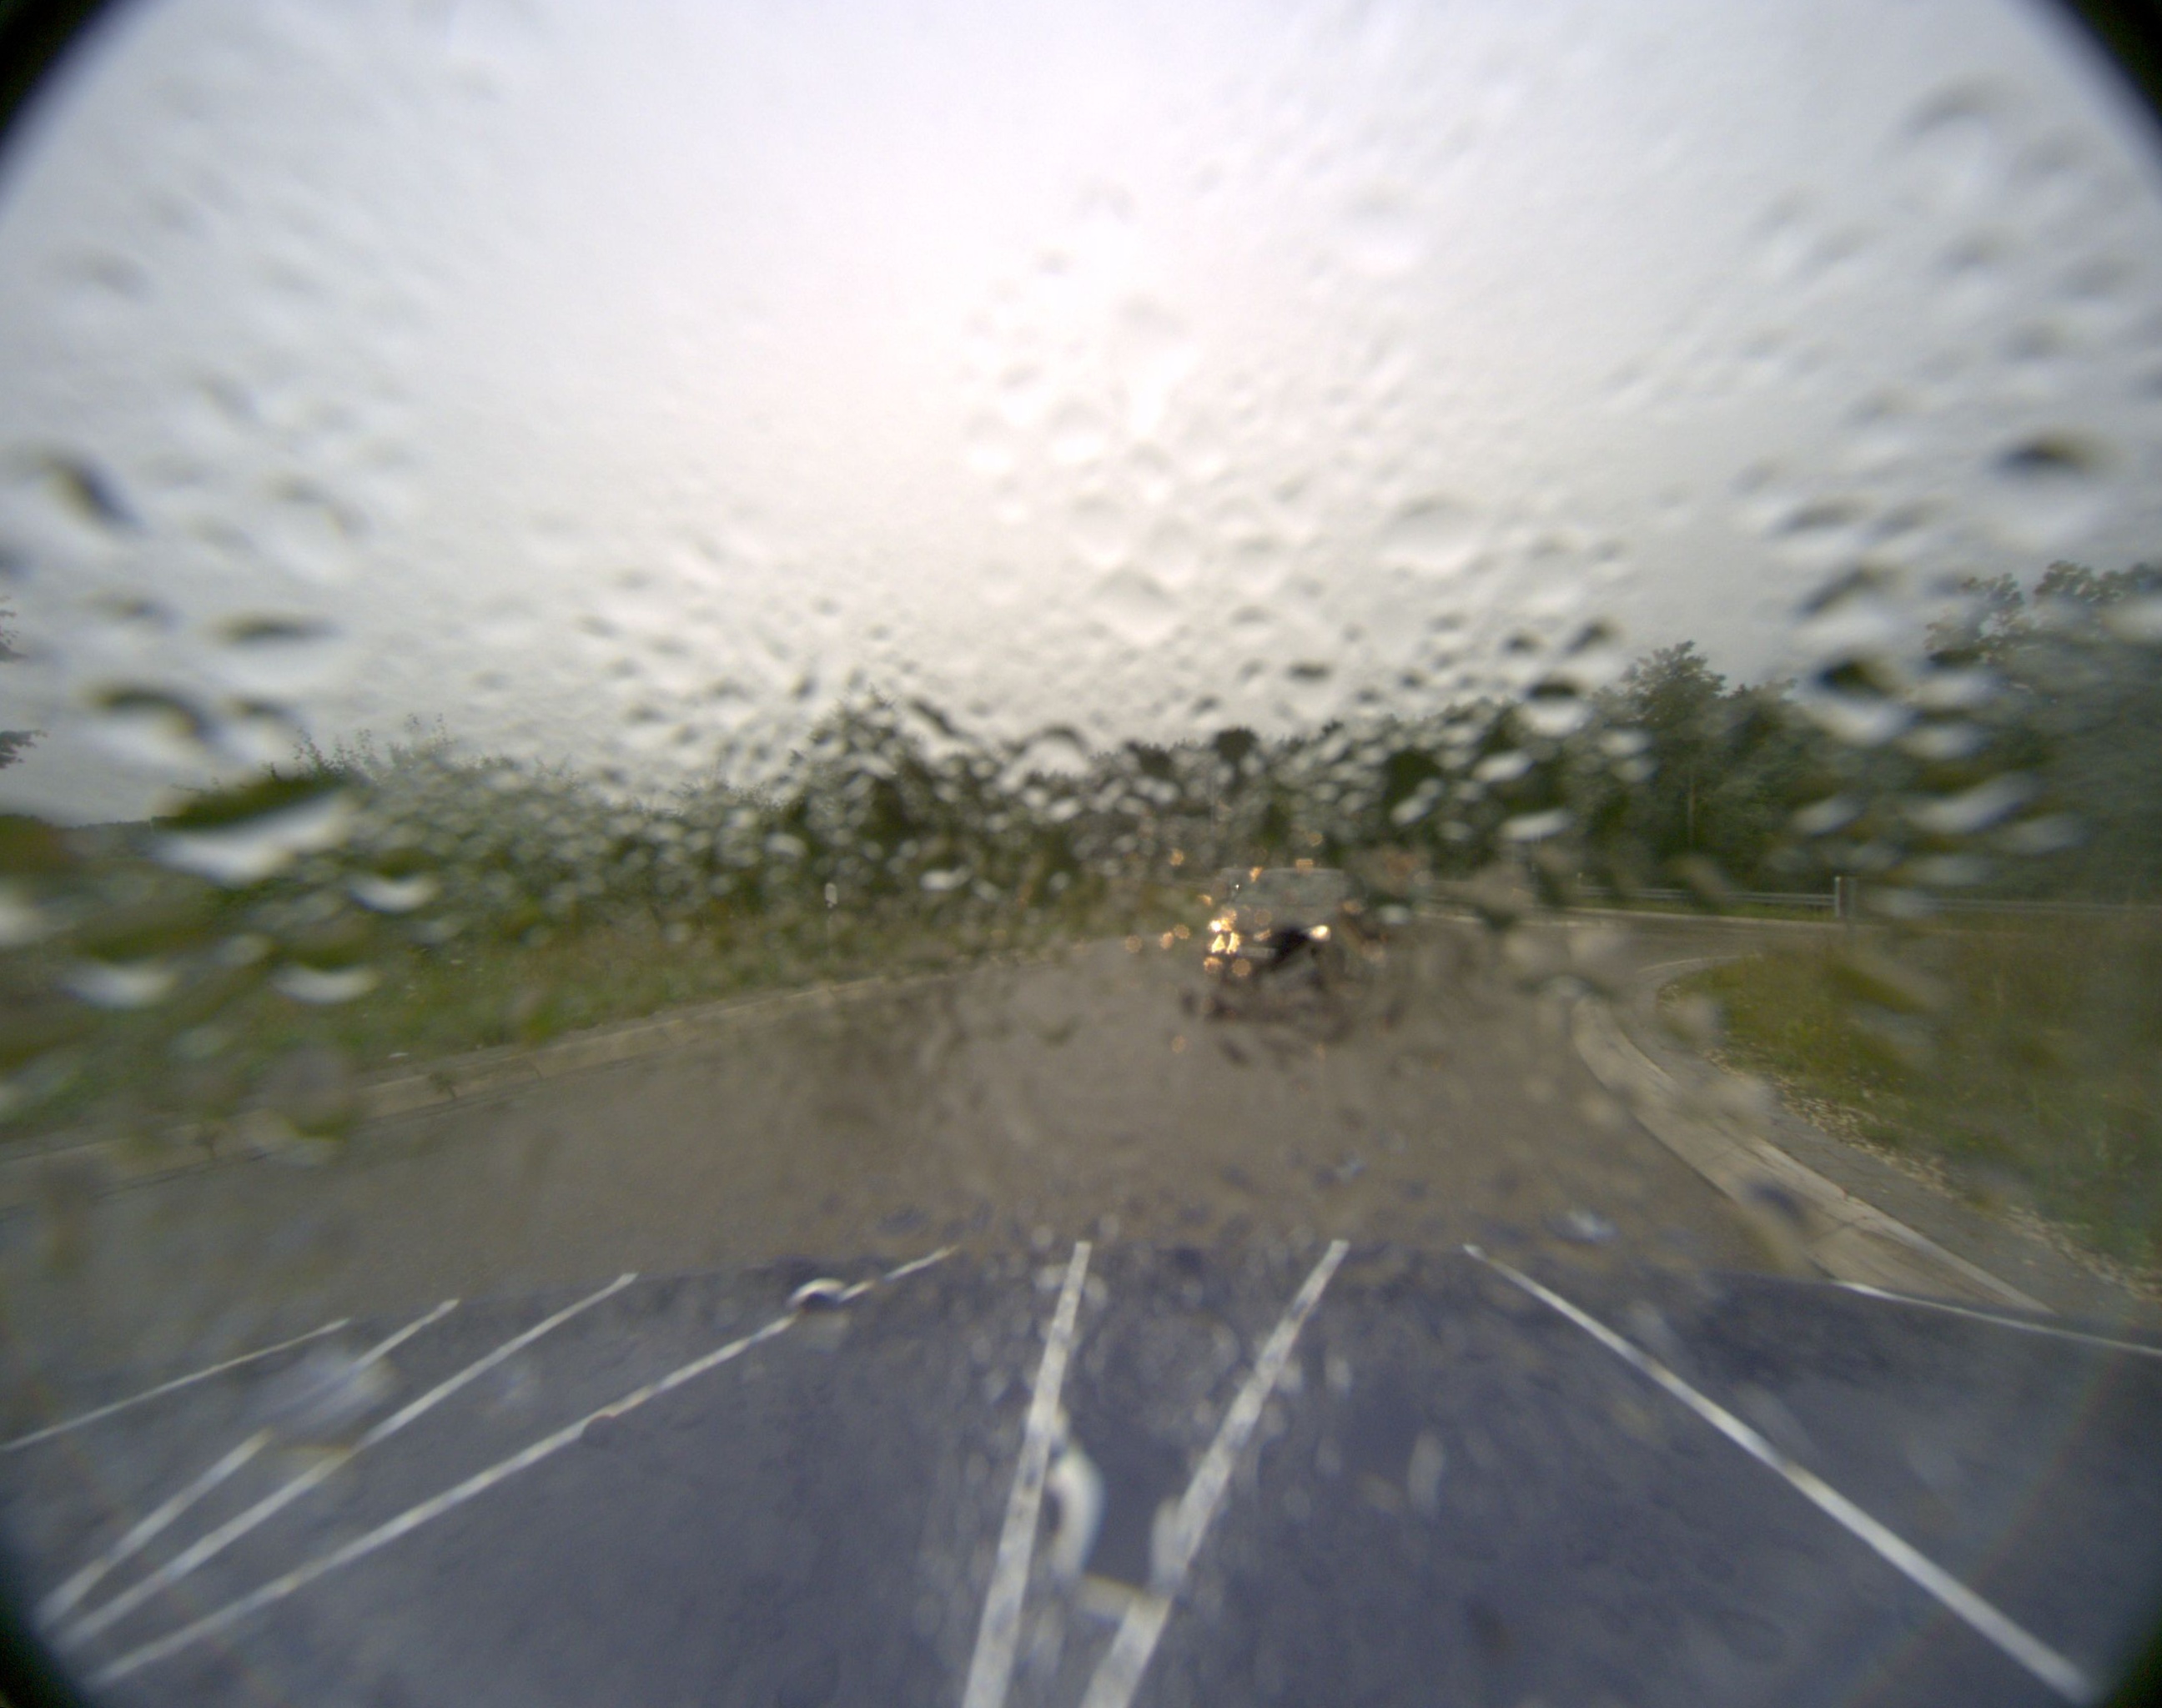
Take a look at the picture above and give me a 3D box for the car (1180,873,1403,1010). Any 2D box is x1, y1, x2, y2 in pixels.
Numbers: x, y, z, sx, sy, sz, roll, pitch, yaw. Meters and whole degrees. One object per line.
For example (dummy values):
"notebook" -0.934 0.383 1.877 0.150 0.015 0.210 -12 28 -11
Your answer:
"car" 3.162 1.003 10.639 1.869 1.412 4.513 1 0 31

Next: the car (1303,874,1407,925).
"car" 8.244 1.315 23.292 1.947 1.363 4.507 1 -1 6

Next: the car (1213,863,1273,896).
"car" 7.481 1.158 35.509 1.763 1.412 4.504 1 -1 -1
